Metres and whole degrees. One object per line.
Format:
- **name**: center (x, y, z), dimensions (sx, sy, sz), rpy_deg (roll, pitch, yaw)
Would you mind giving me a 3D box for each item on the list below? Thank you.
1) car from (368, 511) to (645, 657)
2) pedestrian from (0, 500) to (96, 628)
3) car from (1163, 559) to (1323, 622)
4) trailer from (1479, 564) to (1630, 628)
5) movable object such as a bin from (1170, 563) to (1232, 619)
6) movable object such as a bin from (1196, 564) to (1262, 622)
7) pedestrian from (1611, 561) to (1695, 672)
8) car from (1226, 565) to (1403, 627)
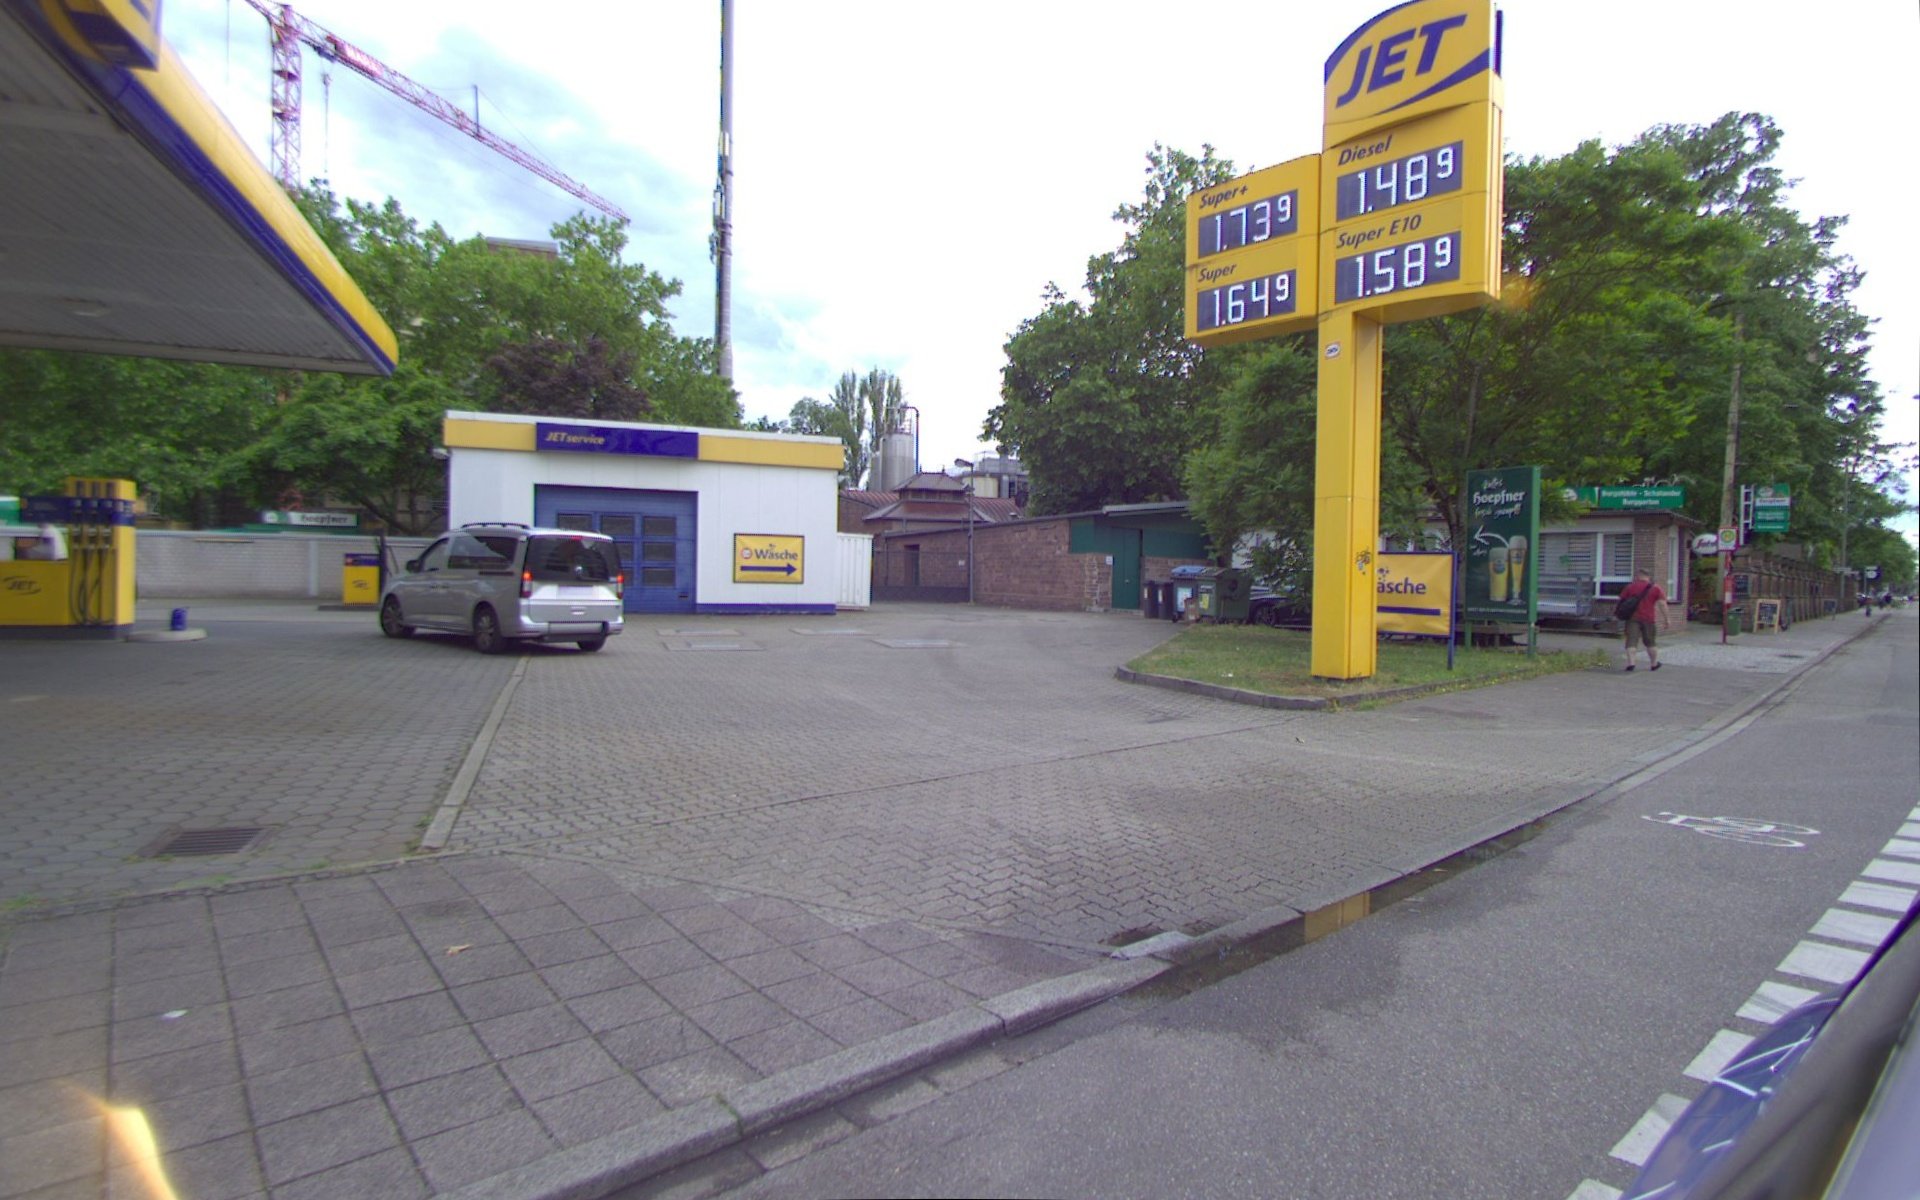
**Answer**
- **car**: center (-7.049, -0.337, 15.536), dimensions (4.504, 1.865, 1.961), rpy_deg (5, 3, 37)
- **pedestrian**: center (-13.950, -0.545, 15.430), dimensions (0.952, 1.842, 0.603), rpy_deg (4, 1, 3)
- **car**: center (7.950, -0.269, 28.607), dimensions (3.943, 1.717, 1.815), rpy_deg (0, 1, -8)
- **trailer**: center (16.623, -0.156, 28.355), dimensions (1.746, 1.549, 3.286), rpy_deg (-3, 5, -44)
- **movable object such as a bin**: center (6.019, -0.225, 25.355), dimensions (1.136, 1.376, 1.123), rpy_deg (0, 1, -10)
- **movable object such as a bin**: center (6.404, -0.175, 24.154), dimensions (1.136, 1.336, 1.123), rpy_deg (0, 1, -10)
- **pedestrian**: center (11.726, 0.249, 17.156), dimensions (0.859, 1.768, 0.846), rpy_deg (4, 4, 20)
- **car**: center (9.134, -0.120, 26.279), dimensions (3.920, 1.536, 1.829), rpy_deg (0, 1, -4)
